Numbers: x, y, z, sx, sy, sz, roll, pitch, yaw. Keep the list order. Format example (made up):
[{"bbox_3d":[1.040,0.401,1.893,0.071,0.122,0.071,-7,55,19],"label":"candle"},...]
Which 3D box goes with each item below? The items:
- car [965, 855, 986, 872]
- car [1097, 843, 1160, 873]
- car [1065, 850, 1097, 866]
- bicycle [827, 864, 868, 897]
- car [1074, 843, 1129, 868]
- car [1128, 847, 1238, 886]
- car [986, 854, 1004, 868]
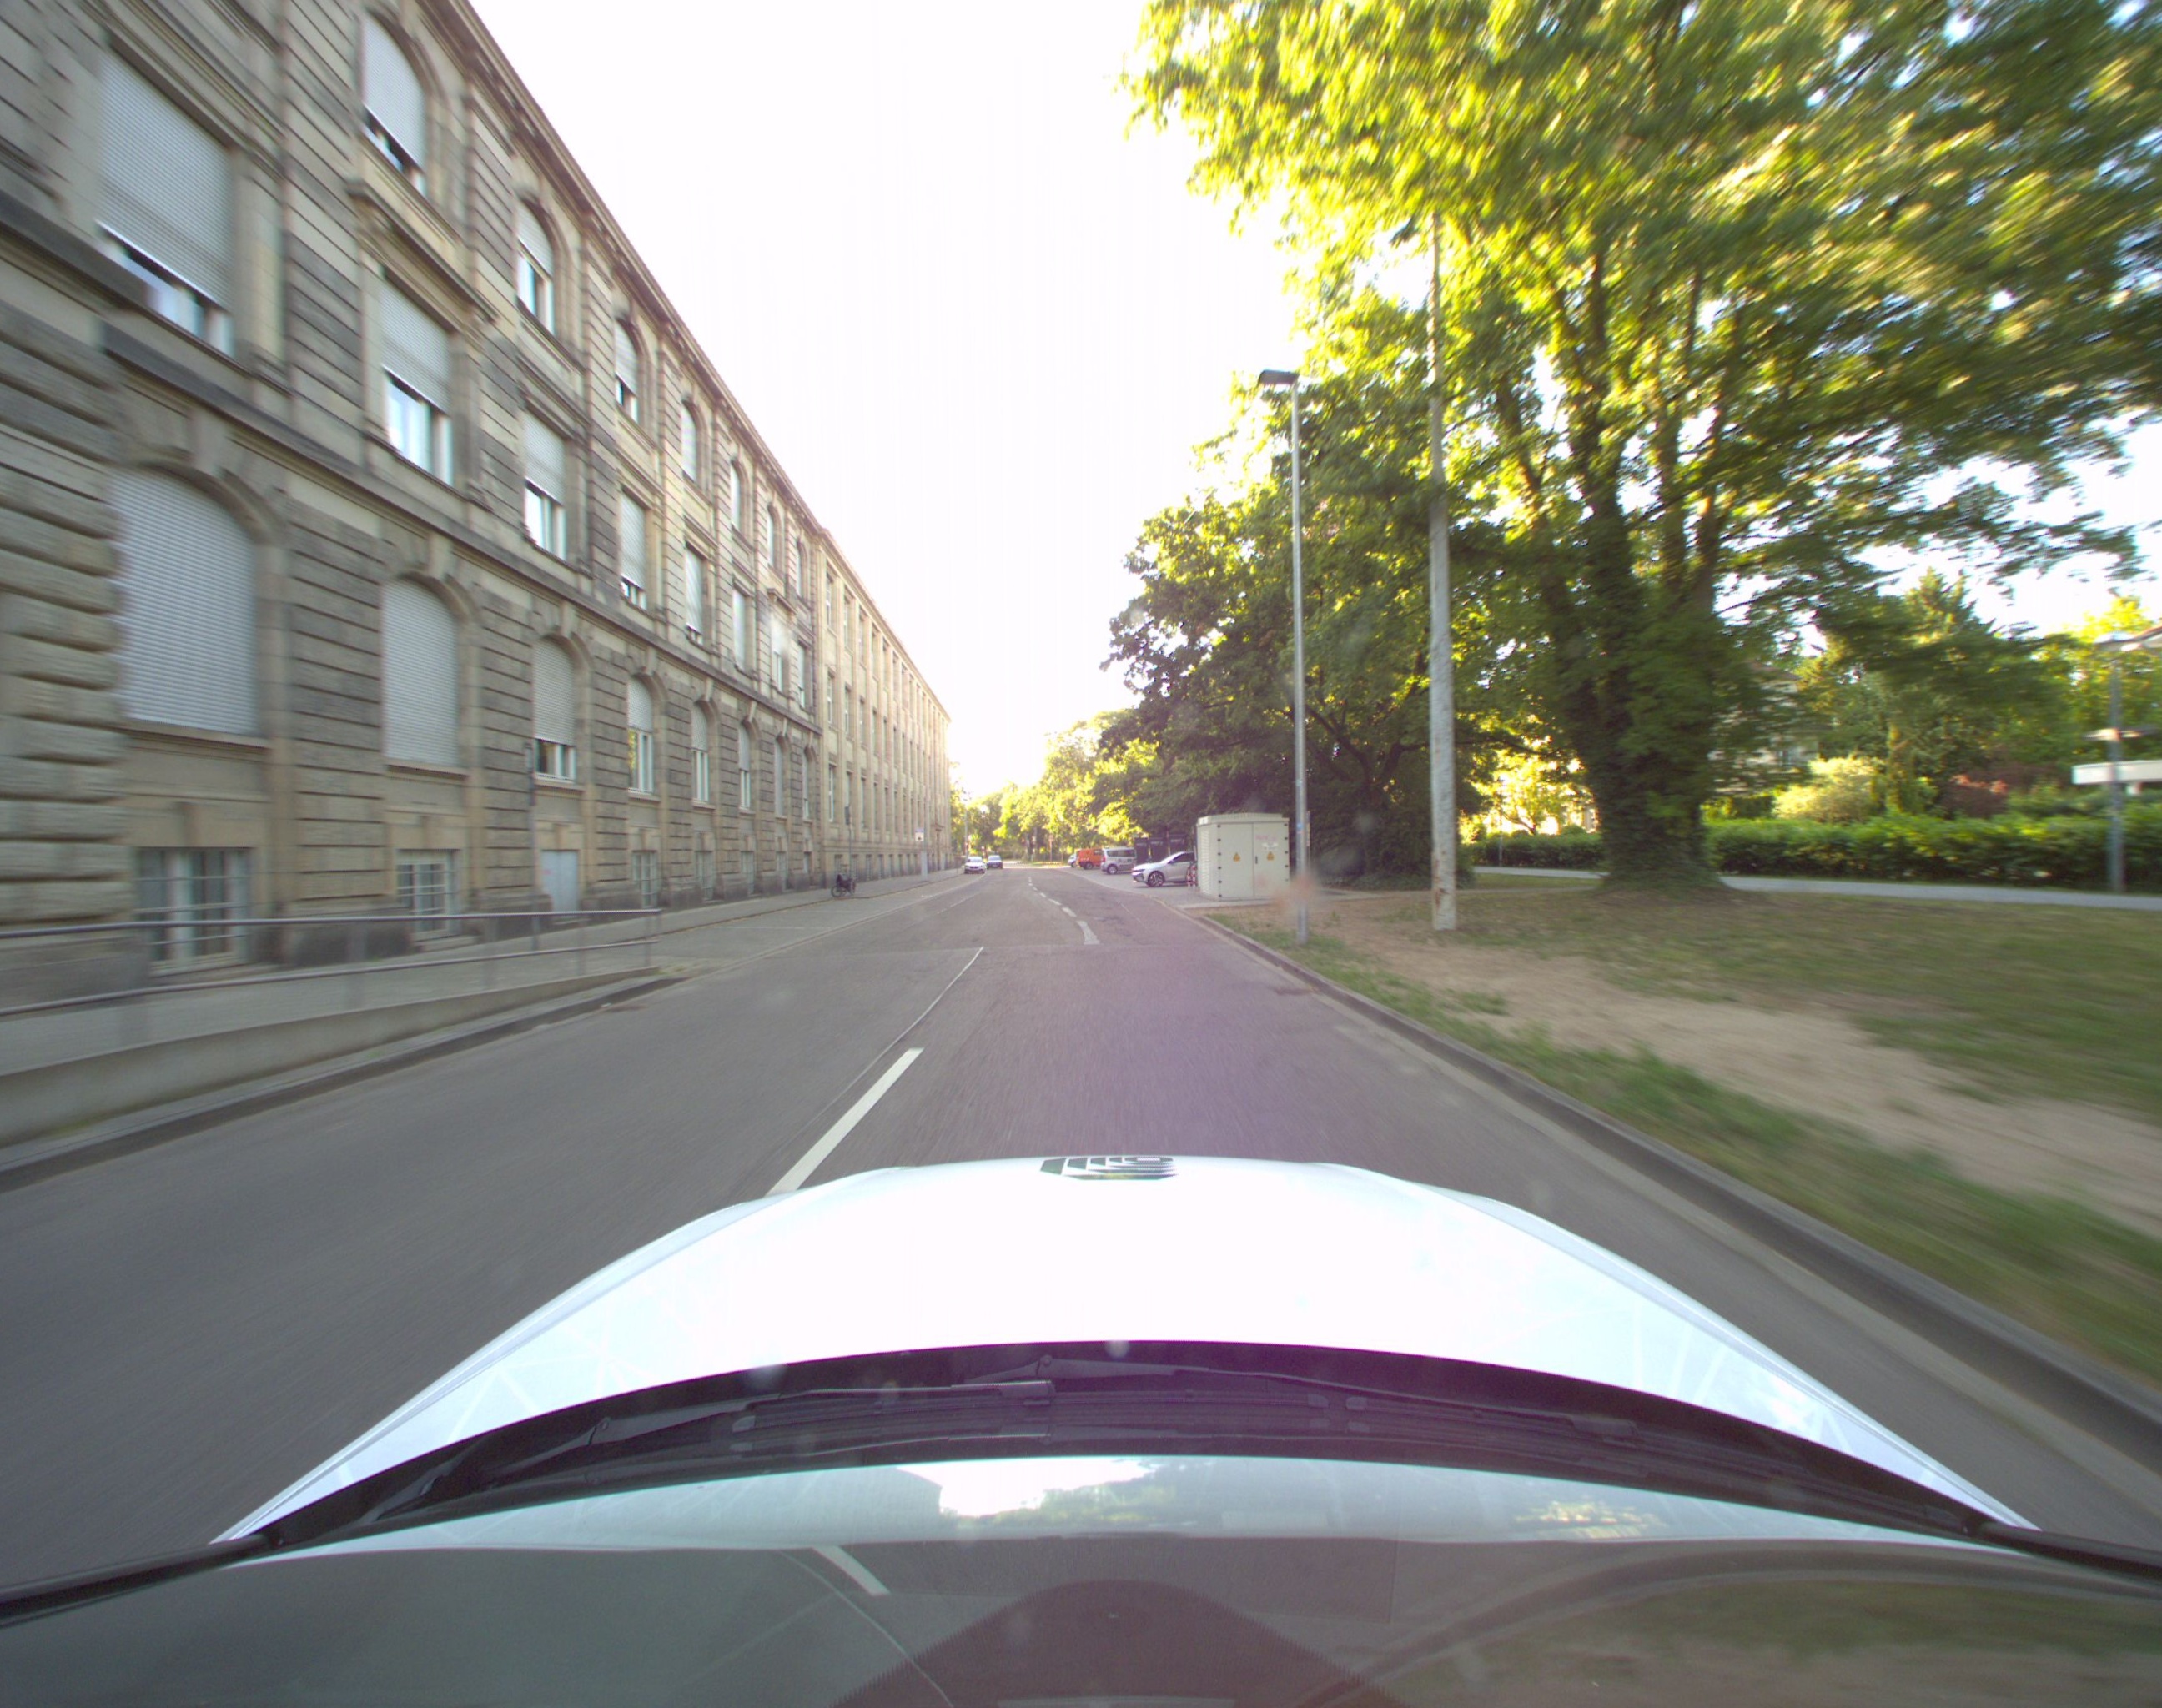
[{"bbox_3d":[-9.362,0.853,72.509,1.725,1.397,4.363,-1,0,-6],"label":"car"},{"bbox_3d":[3.316,0.260,57.407,4.218,1.859,1.998,-3,0,-3],"label":"car"},{"bbox_3d":[0.043,0.433,87.034,3.144,1.503,1.535,-3,0,-10],"label":"car"},{"bbox_3d":[-8.333,0.919,29.189,0.849,1.101,1.982,1,0,1],"label":"bicycle"},{"bbox_3d":[1.894,0.147,76.649,4.819,2.013,1.796,-3,0,-11],"label":"car"},{"bbox_3d":[4.367,0.512,35.244,4.433,1.469,1.780,-2,0,-5],"label":"car"},{"bbox_3d":[-9.481,0.725,89.709,1.876,1.466,4.364,-1,0,-6],"label":"car"}]
